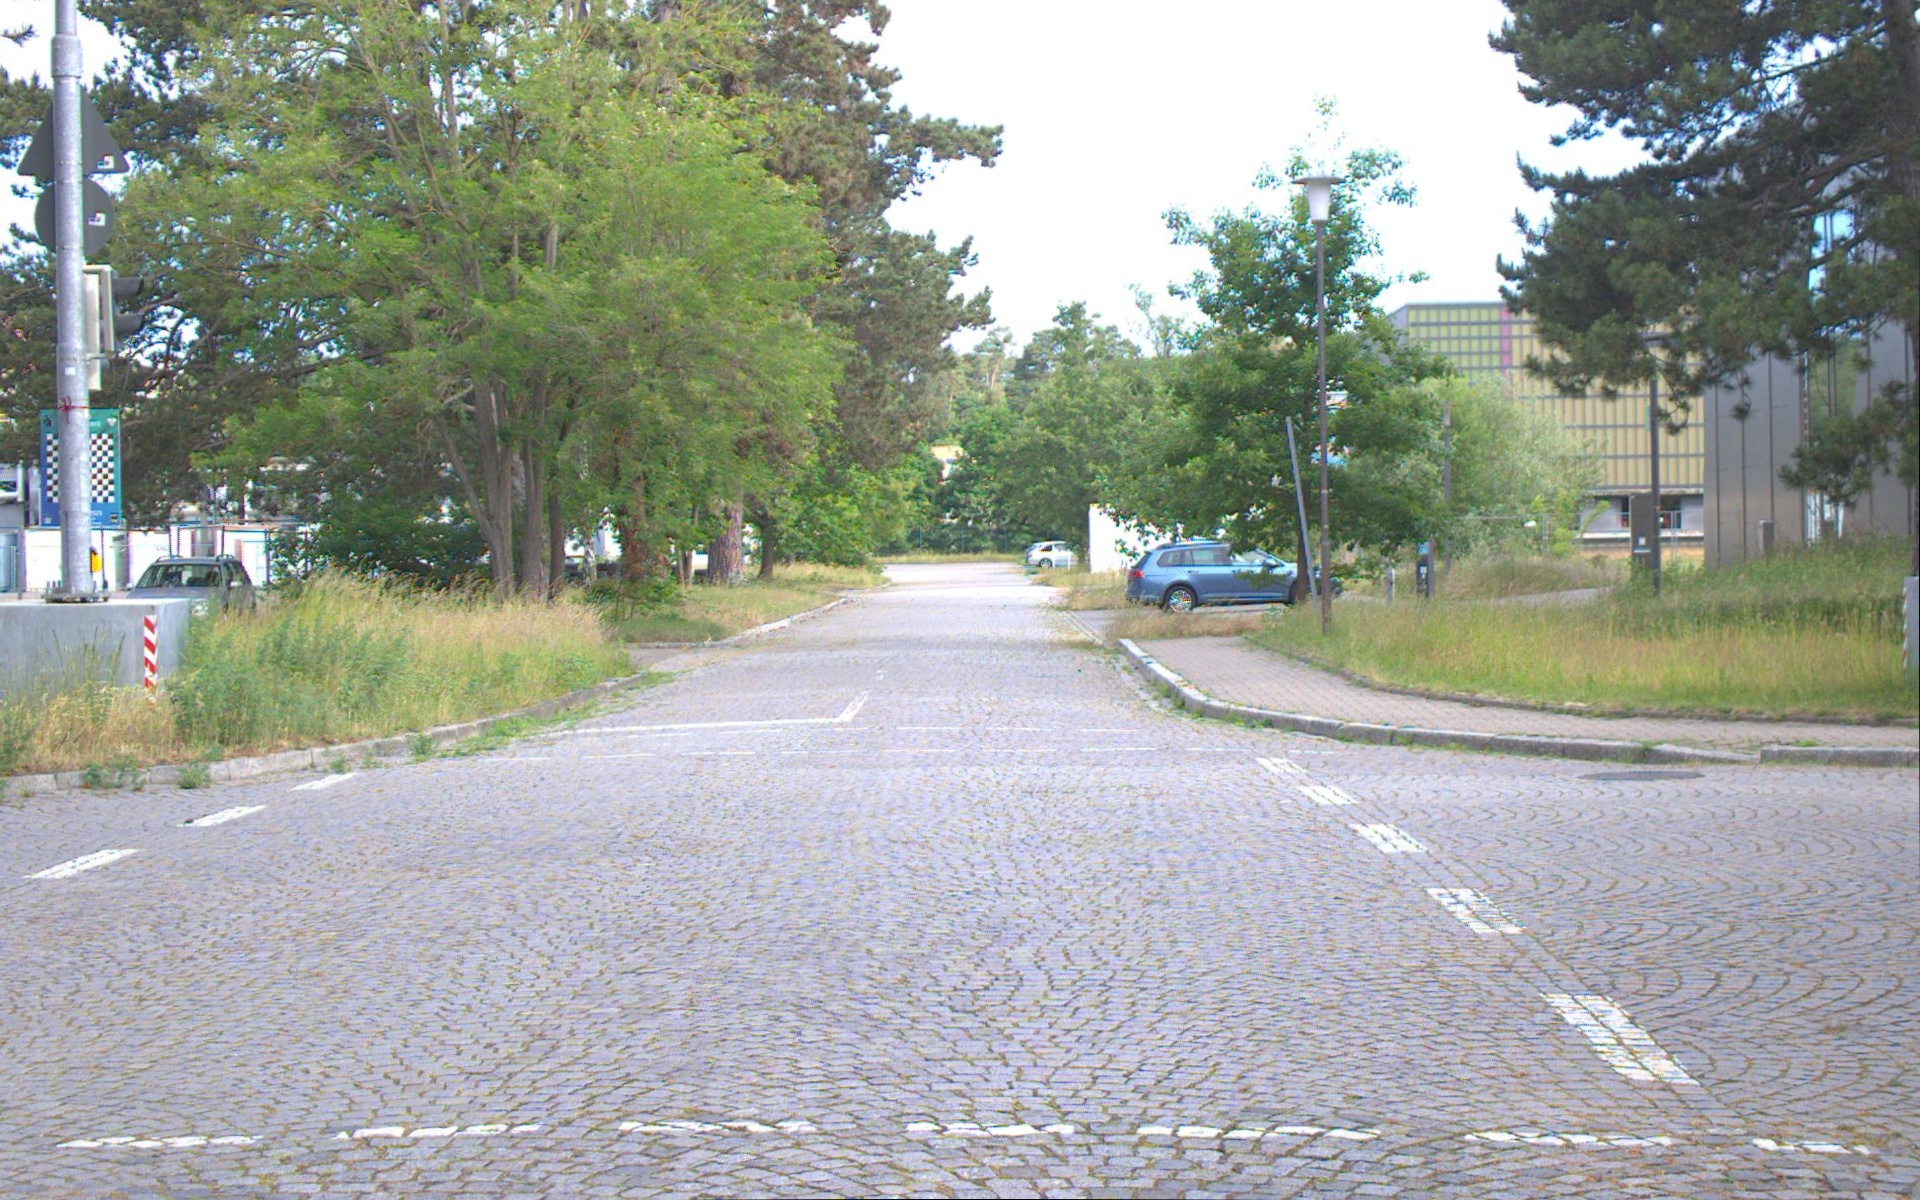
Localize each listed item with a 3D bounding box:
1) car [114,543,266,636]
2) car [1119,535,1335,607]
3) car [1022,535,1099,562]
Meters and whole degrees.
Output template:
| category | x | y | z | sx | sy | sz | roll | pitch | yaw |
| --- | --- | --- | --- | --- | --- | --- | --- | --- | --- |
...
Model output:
| category | x | y | z | sx | sy | sz | roll | pitch | yaw |
| --- | --- | --- | --- | --- | --- | --- | --- | --- | --- |
| car | -12.932 | -0.198 | 57.928 | 1.613 | 1.482 | 4.000 | -1 | 1 | 1 |
| car | 5.601 | -0.615 | 72.541 | 4.344 | 1.417 | 2.000 | -1 | 1 | -1 |
| car | 5.541 | -2.833 | 189.620 | 3.986 | 1.393 | 2.000 | -1 | 1 | -5 |
